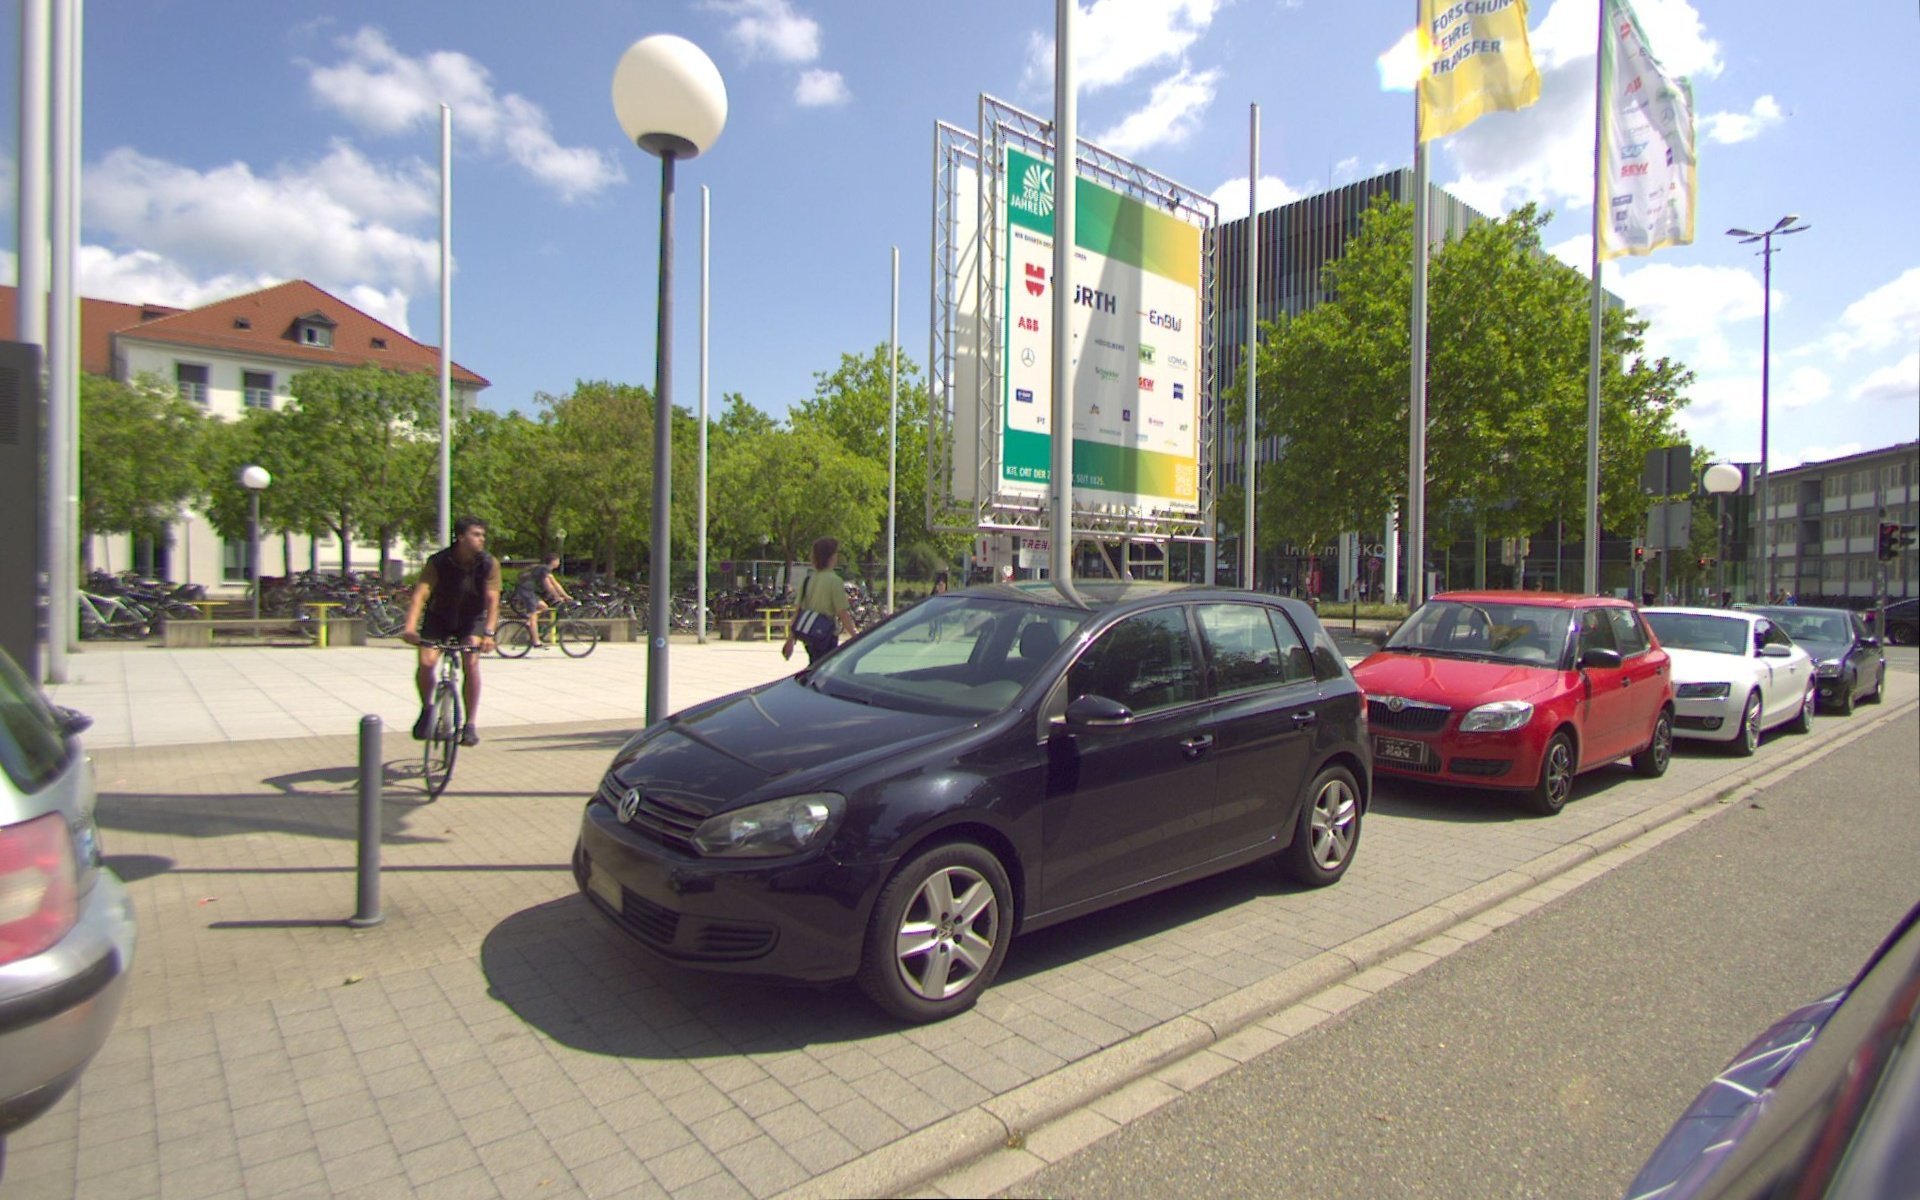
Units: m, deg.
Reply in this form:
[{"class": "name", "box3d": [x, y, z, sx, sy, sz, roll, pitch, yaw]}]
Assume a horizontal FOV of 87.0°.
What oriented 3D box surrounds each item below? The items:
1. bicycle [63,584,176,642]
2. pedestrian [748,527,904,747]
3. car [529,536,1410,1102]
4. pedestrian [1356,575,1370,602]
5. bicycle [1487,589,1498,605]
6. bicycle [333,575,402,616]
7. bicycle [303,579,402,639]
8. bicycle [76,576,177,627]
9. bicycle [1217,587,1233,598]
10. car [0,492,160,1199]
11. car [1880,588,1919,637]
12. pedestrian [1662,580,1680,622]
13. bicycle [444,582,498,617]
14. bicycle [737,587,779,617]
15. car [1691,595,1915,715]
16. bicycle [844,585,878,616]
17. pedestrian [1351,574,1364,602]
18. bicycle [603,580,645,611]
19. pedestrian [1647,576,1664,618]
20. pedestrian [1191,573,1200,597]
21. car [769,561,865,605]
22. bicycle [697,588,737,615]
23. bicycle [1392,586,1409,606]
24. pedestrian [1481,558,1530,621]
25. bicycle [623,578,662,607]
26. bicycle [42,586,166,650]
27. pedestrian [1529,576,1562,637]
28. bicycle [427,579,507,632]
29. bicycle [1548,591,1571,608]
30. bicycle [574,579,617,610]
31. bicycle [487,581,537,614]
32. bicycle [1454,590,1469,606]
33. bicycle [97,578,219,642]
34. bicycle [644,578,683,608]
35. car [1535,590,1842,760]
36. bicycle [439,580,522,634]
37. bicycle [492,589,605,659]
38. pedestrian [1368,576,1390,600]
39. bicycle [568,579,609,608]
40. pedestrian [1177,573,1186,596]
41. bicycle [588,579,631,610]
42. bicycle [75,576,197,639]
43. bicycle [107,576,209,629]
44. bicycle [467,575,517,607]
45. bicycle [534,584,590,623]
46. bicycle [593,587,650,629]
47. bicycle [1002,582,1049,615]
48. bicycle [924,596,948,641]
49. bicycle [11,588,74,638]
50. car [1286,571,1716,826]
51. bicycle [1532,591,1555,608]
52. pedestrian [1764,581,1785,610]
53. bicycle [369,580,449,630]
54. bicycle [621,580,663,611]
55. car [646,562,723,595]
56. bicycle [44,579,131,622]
[{"class": "bicycle", "box3d": [-17.565, 0.250, 21.203, 0.596, 1.112, 1.758, 0, 3, 18]}, {"class": "pedestrian", "box3d": [-1.162, 0.281, 8.742, 0.984, 1.761, 0.919, 0, 1, -41]}, {"class": "car", "box3d": [0.308, 0.563, 4.701, 3.930, 1.548, 1.723, 0, 2, -41]}, {"class": "pedestrian", "box3d": [27.916, -0.793, 70.108, 0.678, 1.864, 0.678, -1, 2, -33]}, {"class": "bicycle", "box3d": [33.868, -0.194, 64.340, 0.524, 0.967, 1.755, 1, 2, 29]}, {"class": "bicycle", "box3d": [-17.060, -0.141, 29.175, 0.596, 1.112, 1.758, 0, 3, 18]}, {"class": "bicycle", "box3d": [-12.407, 0.156, 20.726, 0.596, 1.112, 1.758, 0, 3, 18]}, {"class": "bicycle", "box3d": [-19.257, 0.012, 23.426, 0.596, 1.112, 1.758, 0, 3, 18]}, {"class": "bicycle", "box3d": [20.121, -0.545, 76.819, 1.518, 0.785, 0.373, -2, 2, -37]}, {"class": "car", "box3d": [-3.797, 0.538, 1.074, 4.491, 1.548, 1.721, 0, 3, -44]}, {"class": "car", "box3d": [29.416, 0.398, 29.024, 1.796, 1.433, 4.191, 0, 1, -35]}, {"class": "pedestrian", "box3d": [32.225, 0.046, 45.872, 0.574, 1.864, 0.409, 2, 2, 45]}, {"class": "bicycle", "box3d": [-16.650, -0.043, 34.475, 0.596, 1.112, 1.758, 0, 3, 18]}, {"class": "bicycle", "box3d": [-6.809, 0.045, 34.116, 0.596, 0.966, 1.757, 0, 1, 19]}, {"class": "car", "box3d": [12.543, 0.680, 14.944, 4.862, 1.417, 1.722, 0, 3, -41]}, {"class": "bicycle", "box3d": [-3.780, -0.007, 38.748, 0.596, 1.112, 1.758, 0, 3, 19]}, {"class": "pedestrian", "box3d": [27.219, -0.811, 69.258, 0.779, 1.865, 0.514, 1, 1, 21]}, {"class": "bicycle", "box3d": [-12.849, -0.204, 38.769, 0.596, 1.112, 1.758, 0, 3, 19]}, {"class": "pedestrian", "box3d": [31.708, -0.150, 46.138, 0.629, 1.864, 0.474, 1, 2, 36]}, {"class": "pedestrian", "box3d": [18.728, -1.212, 80.495, 0.552, 1.864, 0.554, 1, 2, 42]}, {"class": "car", "box3d": [-6.541, -0.798, 45.930, 1.872, 1.887, 4.932, -1, 2, -43]}, {"class": "bicycle", "box3d": [-8.308, 0.038, 34.657, 0.478, 0.879, 1.757, 0, 1, 19]}, {"class": "bicycle", "box3d": [28.494, -0.252, 65.467, 1.520, 1.201, 0.373, -3, 4, -42]}, {"class": "pedestrian", "box3d": [17.005, -0.333, 31.567, 1.154, 1.842, 0.856, 5, 0, -39]}, {"class": "bicycle", "box3d": [-12.900, -0.314, 41.158, 0.596, 1.112, 1.758, 0, 3, 19]}, {"class": "bicycle", "box3d": [-16.446, 0.319, 19.508, 0.596, 1.112, 1.758, 0, 3, 18]}, {"class": "pedestrian", "box3d": [17.728, 0.199, 30.640, 0.599, 1.823, 0.596, 2, -1, 0]}, {"class": "bicycle", "box3d": [-11.319, 0.104, 23.285, 0.596, 1.112, 1.758, 0, 3, 18]}, {"class": "bicycle", "box3d": [37.560, -0.018, 63.407, 0.520, 0.967, 1.771, -2, 2, 6]}, {"class": "bicycle", "box3d": [-14.151, -0.219, 39.323, 0.596, 1.112, 1.758, 0, 3, 19]}, {"class": "bicycle", "box3d": [-16.028, -0.109, 36.228, 0.596, 1.112, 1.758, 0, 3, 18]}, {"class": "bicycle", "box3d": [32.198, -0.128, 64.968, 0.367, 0.967, 1.768, 1, 2, 10]}, {"class": "bicycle", "box3d": [-15.074, 0.157, 19.081, 0.596, 1.112, 1.758, 0, 3, 18]}, {"class": "bicycle", "box3d": [-11.938, -0.303, 40.766, 0.596, 1.112, 1.758, 0, 3, 19]}, {"class": "car", "box3d": [8.140, 0.656, 11.157, 4.361, 1.417, 1.722, 0, 4, -41]}, {"class": "bicycle", "box3d": [-10.611, 0.127, 22.455, 0.596, 1.112, 1.758, 0, 3, 18]}, {"class": "bicycle", "box3d": [-7.138, 0.405, 17.602, 1.662, 1.152, 0.681, 2, 0, -41]}, {"class": "pedestrian", "box3d": [29.645, -0.835, 71.638, 1.162, 1.671, 1.014, 0, 1, -40]}, {"class": "bicycle", "box3d": [-14.955, -0.281, 40.806, 0.585, 1.112, 1.758, 0, 3, 18]}, {"class": "pedestrian", "box3d": [17.931, -1.272, 81.934, 0.552, 1.864, 0.554, 1, 2, 42]}, {"class": "bicycle", "box3d": [-13.505, -0.226, 39.055, 0.596, 1.112, 1.758, 0, 3, 19]}, {"class": "bicycle", "box3d": [-15.726, 0.120, 19.377, 0.596, 1.112, 1.758, 0, 3, 18]}, {"class": "bicycle", "box3d": [-18.121, 0.033, 22.906, 0.596, 1.112, 1.758, 0, 3, 18]}, {"class": "bicycle", "box3d": [-16.899, -0.335, 36.587, 0.596, 1.112, 1.758, 0, 3, 18]}, {"class": "bicycle", "box3d": [-12.190, 0.100, 31.037, 0.596, 1.112, 1.758, 0, 3, 18]}, {"class": "bicycle", "box3d": [-9.632, 0.210, 28.837, 0.596, 1.112, 1.758, 0, 3, 18]}, {"class": "bicycle", "box3d": [2.495, -0.071, 38.786, 0.784, 1.197, 2.034, -1, 2, -29]}, {"class": "bicycle", "box3d": [-0.665, 0.481, 27.310, 0.596, 1.152, 1.588, 2, 0, -2]}, {"class": "bicycle", "box3d": [-16.178, 0.212, 17.836, 1.758, 0.802, 0.513, 2, 1, 38]}, {"class": "car", "box3d": [4.525, 0.598, 8.195, 4.073, 1.515, 1.618, 0, 3, -40]}, {"class": "bicycle", "box3d": [36.610, -0.016, 63.532, 0.520, 0.967, 1.771, 1, 3, 6]}, {"class": "pedestrian", "box3d": [50.972, -0.301, 63.357, 0.833, 1.812, 0.673, 1, 1, 20]}, {"class": "bicycle", "box3d": [-13.180, 0.090, 24.267, 0.596, 1.112, 1.758, 0, 3, 18]}, {"class": "bicycle", "box3d": [-12.073, -0.194, 38.429, 0.596, 1.112, 1.758, 0, 3, 19]}, {"class": "car", "box3d": [-16.228, -1.298, 59.655, 3.934, 1.804, 1.996, -3, 3, -43]}, {"class": "bicycle", "box3d": [-23.978, -0.007, 27.852, 0.596, 1.112, 1.758, 0, 3, 18]}]
